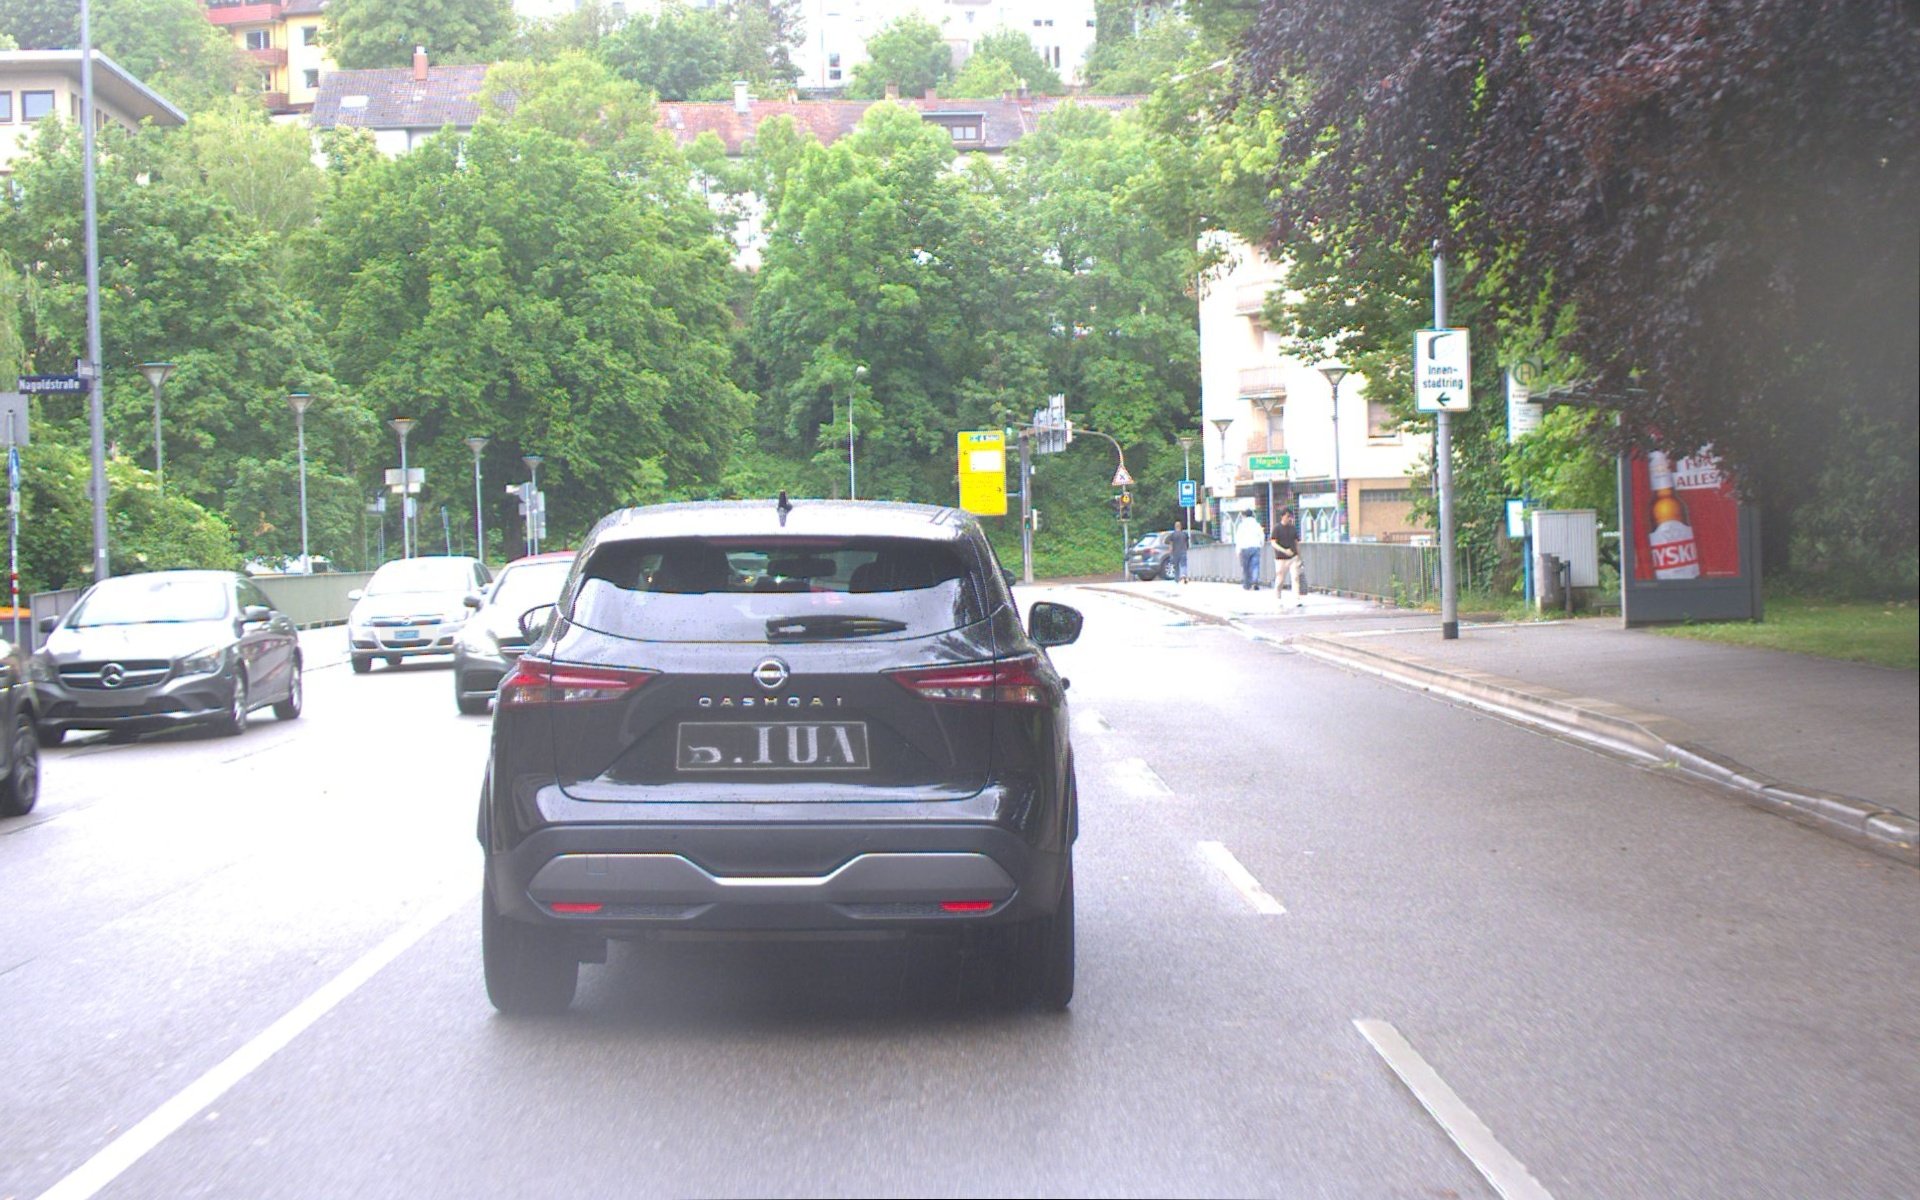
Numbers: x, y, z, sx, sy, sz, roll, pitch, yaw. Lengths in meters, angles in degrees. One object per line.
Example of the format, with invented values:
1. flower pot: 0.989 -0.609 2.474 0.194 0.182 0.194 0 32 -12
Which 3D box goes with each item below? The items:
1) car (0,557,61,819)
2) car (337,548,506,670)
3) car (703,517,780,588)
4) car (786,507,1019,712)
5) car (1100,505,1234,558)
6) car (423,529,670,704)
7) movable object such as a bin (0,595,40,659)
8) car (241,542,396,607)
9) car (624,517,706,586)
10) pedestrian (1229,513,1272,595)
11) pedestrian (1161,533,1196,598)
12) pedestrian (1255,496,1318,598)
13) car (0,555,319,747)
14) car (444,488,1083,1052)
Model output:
1. car: -6.417 0.578 19.325 1.686 1.486 3.890 -3 2 -1
2. car: -7.117 0.086 45.754 1.813 1.410 4.049 -3 2 -4
3. car: -7.708 -1.718 121.916 2.289 2.300 6.510 -3 2 -1
4. car: -0.466 0.031 28.805 1.811 1.597 4.000 0 1 -1
5. car: 7.401 -2.447 122.897 4.366 1.643 1.884 -3 1 -26
6. car: -3.811 0.097 32.346 1.794 1.410 4.336 -3 2 -1
7. movable object such as a bin: -13.653 0.388 48.721 0.965 0.874 0.832 -2 1 0
8. car: -20.397 -0.825 109.412 4.741 1.848 2.001 -2 3 -9
9. car: -7.375 -1.229 86.174 1.813 1.573 4.232 -3 2 -3
10. pedestrian: 6.313 -0.990 74.714 0.779 1.746 1.061 -2 1 -1
11. pedestrian: 5.762 -0.911 90.726 0.761 1.671 0.781 -4 1 0
12. pedestrian: 5.554 -0.899 58.530 0.847 1.670 1.168 -4 1 -1
13. car: -7.040 0.390 30.555 1.813 1.410 4.683 -3 2 -1
14. car: -0.583 0.441 11.843 1.811 1.597 4.000 -1 1 -1
